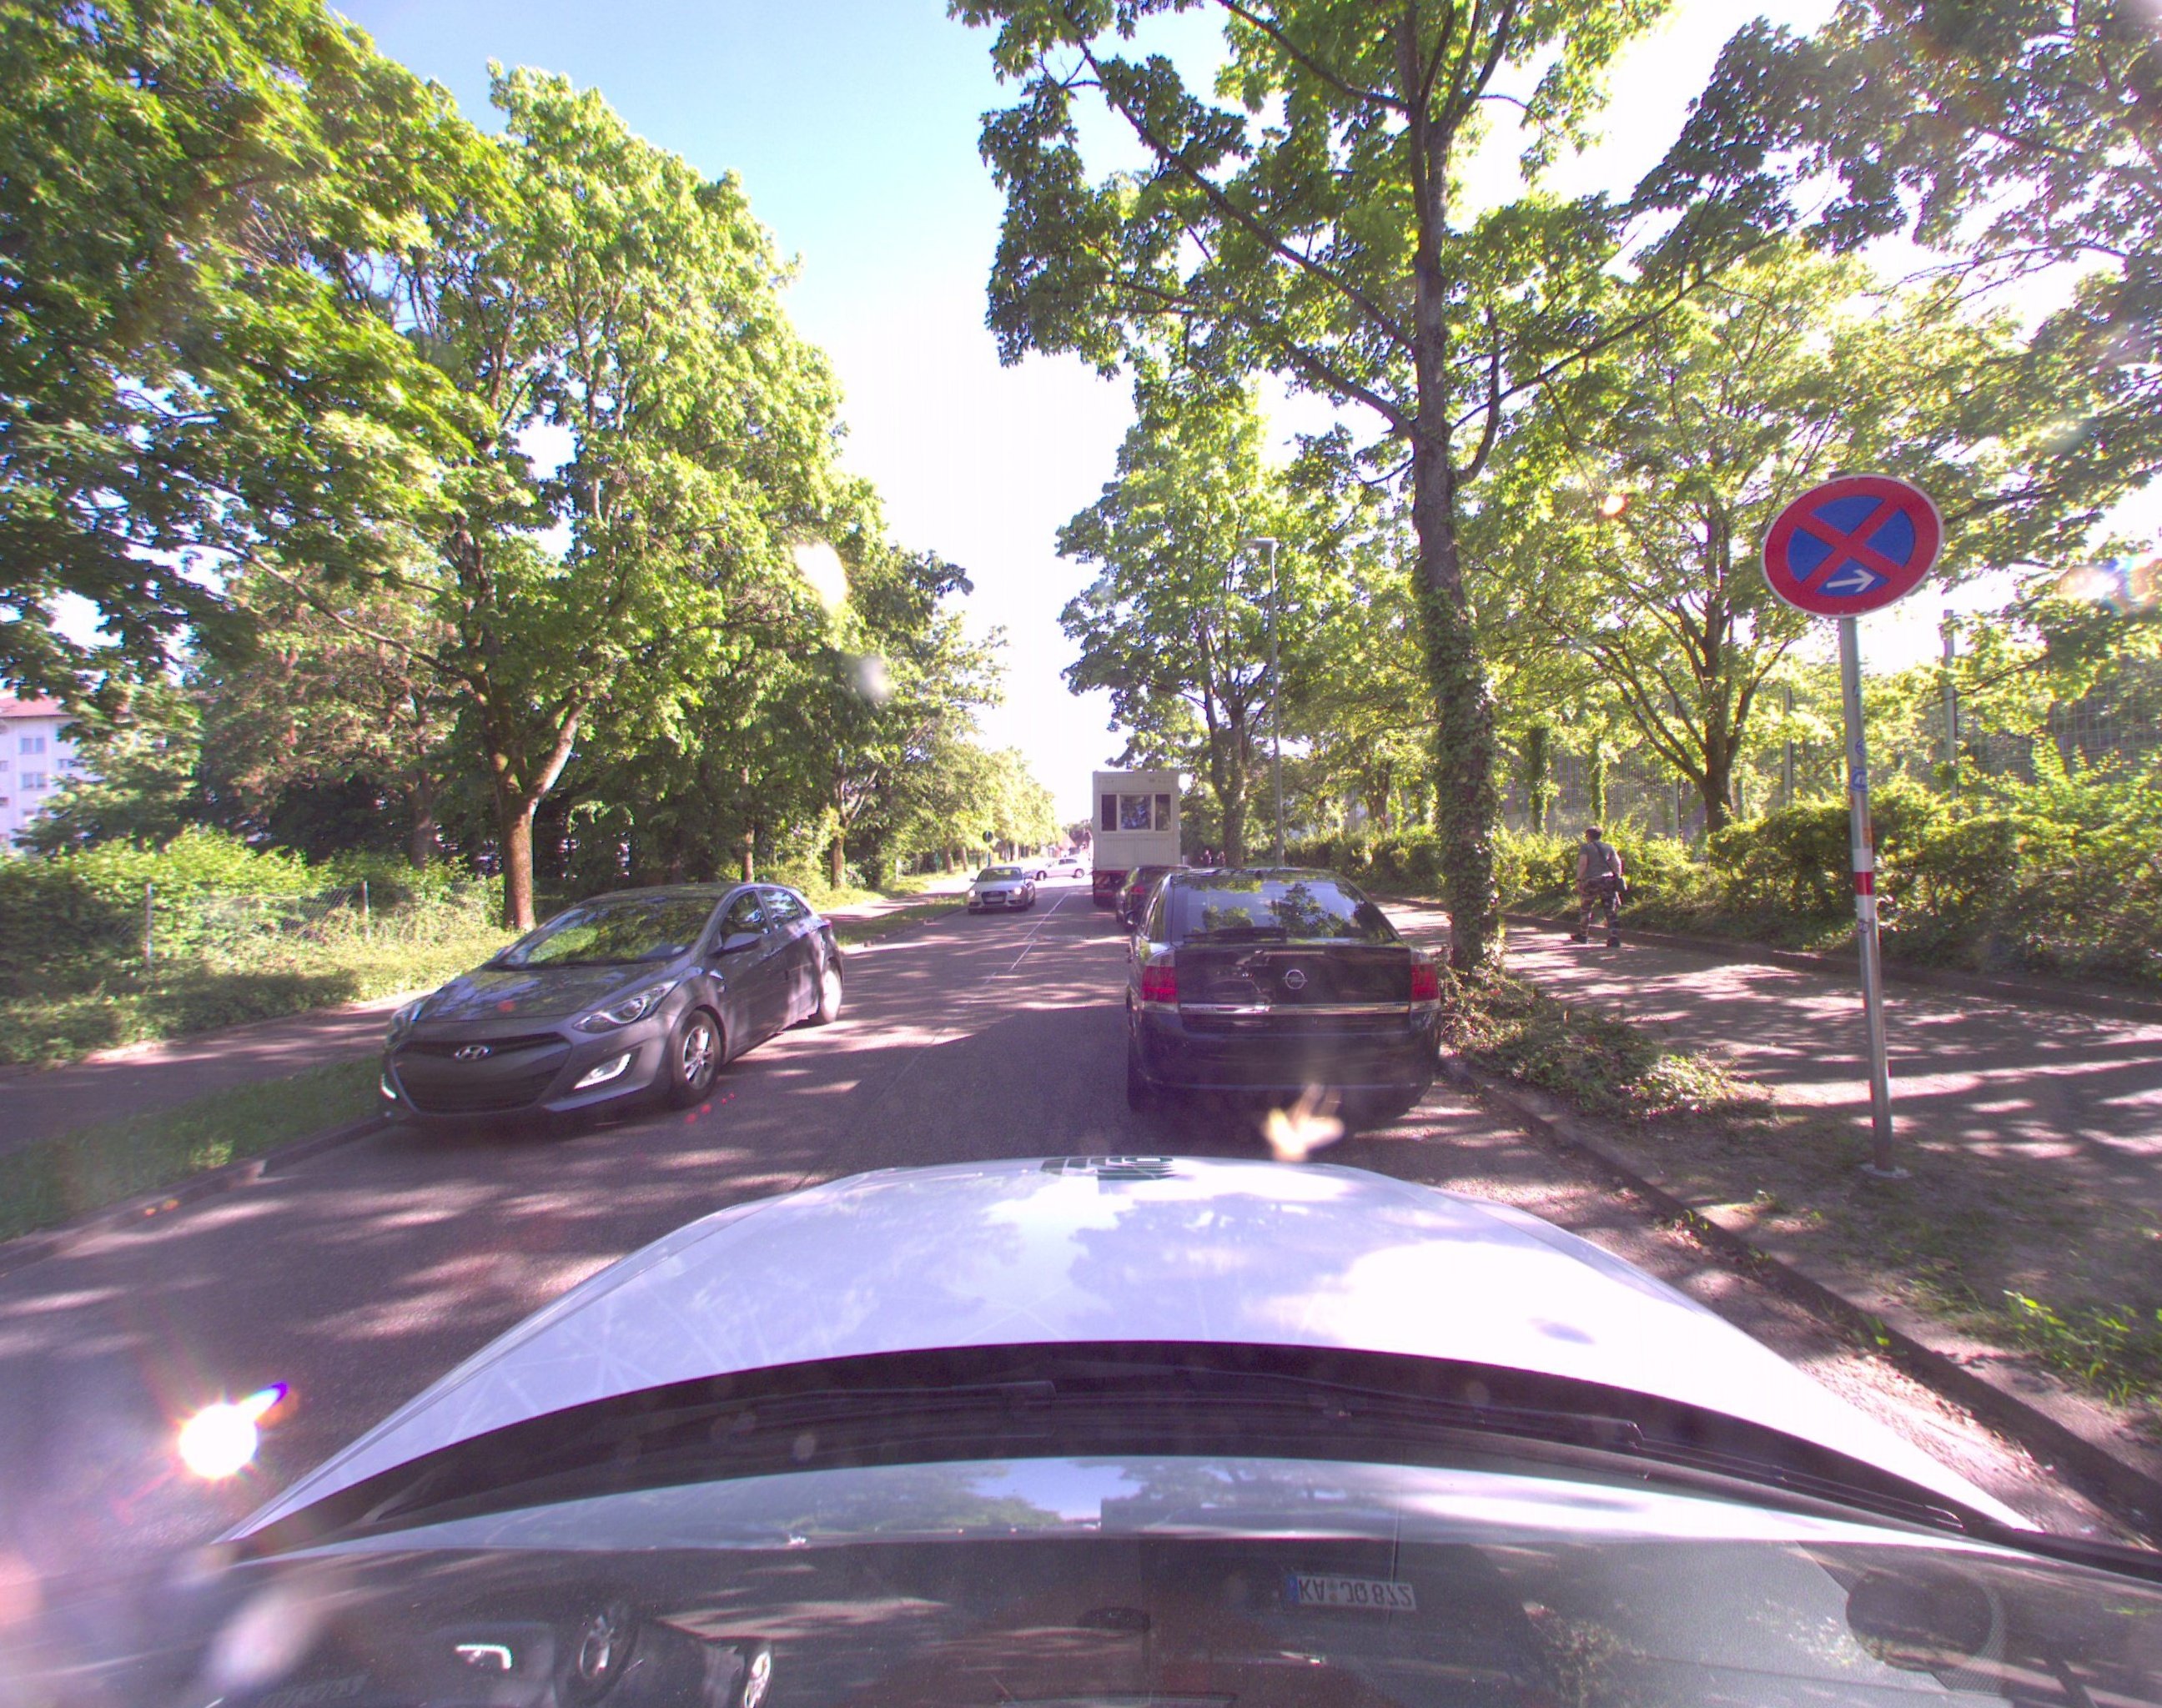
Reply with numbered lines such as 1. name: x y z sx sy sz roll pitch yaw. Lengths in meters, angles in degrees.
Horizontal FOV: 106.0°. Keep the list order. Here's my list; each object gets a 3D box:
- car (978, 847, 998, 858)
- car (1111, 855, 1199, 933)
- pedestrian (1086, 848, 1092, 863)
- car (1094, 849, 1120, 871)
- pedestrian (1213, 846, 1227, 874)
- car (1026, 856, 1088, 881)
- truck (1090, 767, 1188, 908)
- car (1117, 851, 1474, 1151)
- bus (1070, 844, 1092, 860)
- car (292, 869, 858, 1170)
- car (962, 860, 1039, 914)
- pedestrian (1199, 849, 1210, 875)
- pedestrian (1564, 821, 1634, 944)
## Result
1. car: -19.682 -0.295 172.371 3.971 2.013 2.001 -4 0 2
2. car: 1.576 0.798 18.000 1.633 1.420 4.004 -3 0 3
3. pedestrian: 1.160 0.272 116.567 0.749 2.113 0.800 0 0 4
4. car: 2.222 0.501 70.228 1.941 1.843 3.997 -2 0 -2
5. pedestrian: 9.115 0.396 53.487 0.696 1.812 0.700 -3 0 -2
6. car: -1.672 0.965 55.822 3.947 1.420 1.805 -4 0 -11
7. truck: 1.723 -0.485 28.274 2.763 3.996 10.349 0 0 1
8. car: 1.176 0.757 6.082 1.741 1.480 4.033 -1 -1 3
9. bus: 0.071 -0.530 183.257 4.048 3.349 9.810 -3 0 4
10. car: -3.344 0.941 6.565 1.749 1.454 4.244 -3 0 1
11. car: -2.466 0.990 25.958 1.779 1.416 4.107 -3 0 3
12. pedestrian: 8.105 0.526 53.481 0.596 1.611 0.600 -3 0 -2
13. pedestrian: 7.031 0.375 11.077 0.568 1.608 0.673 -1 0 10
